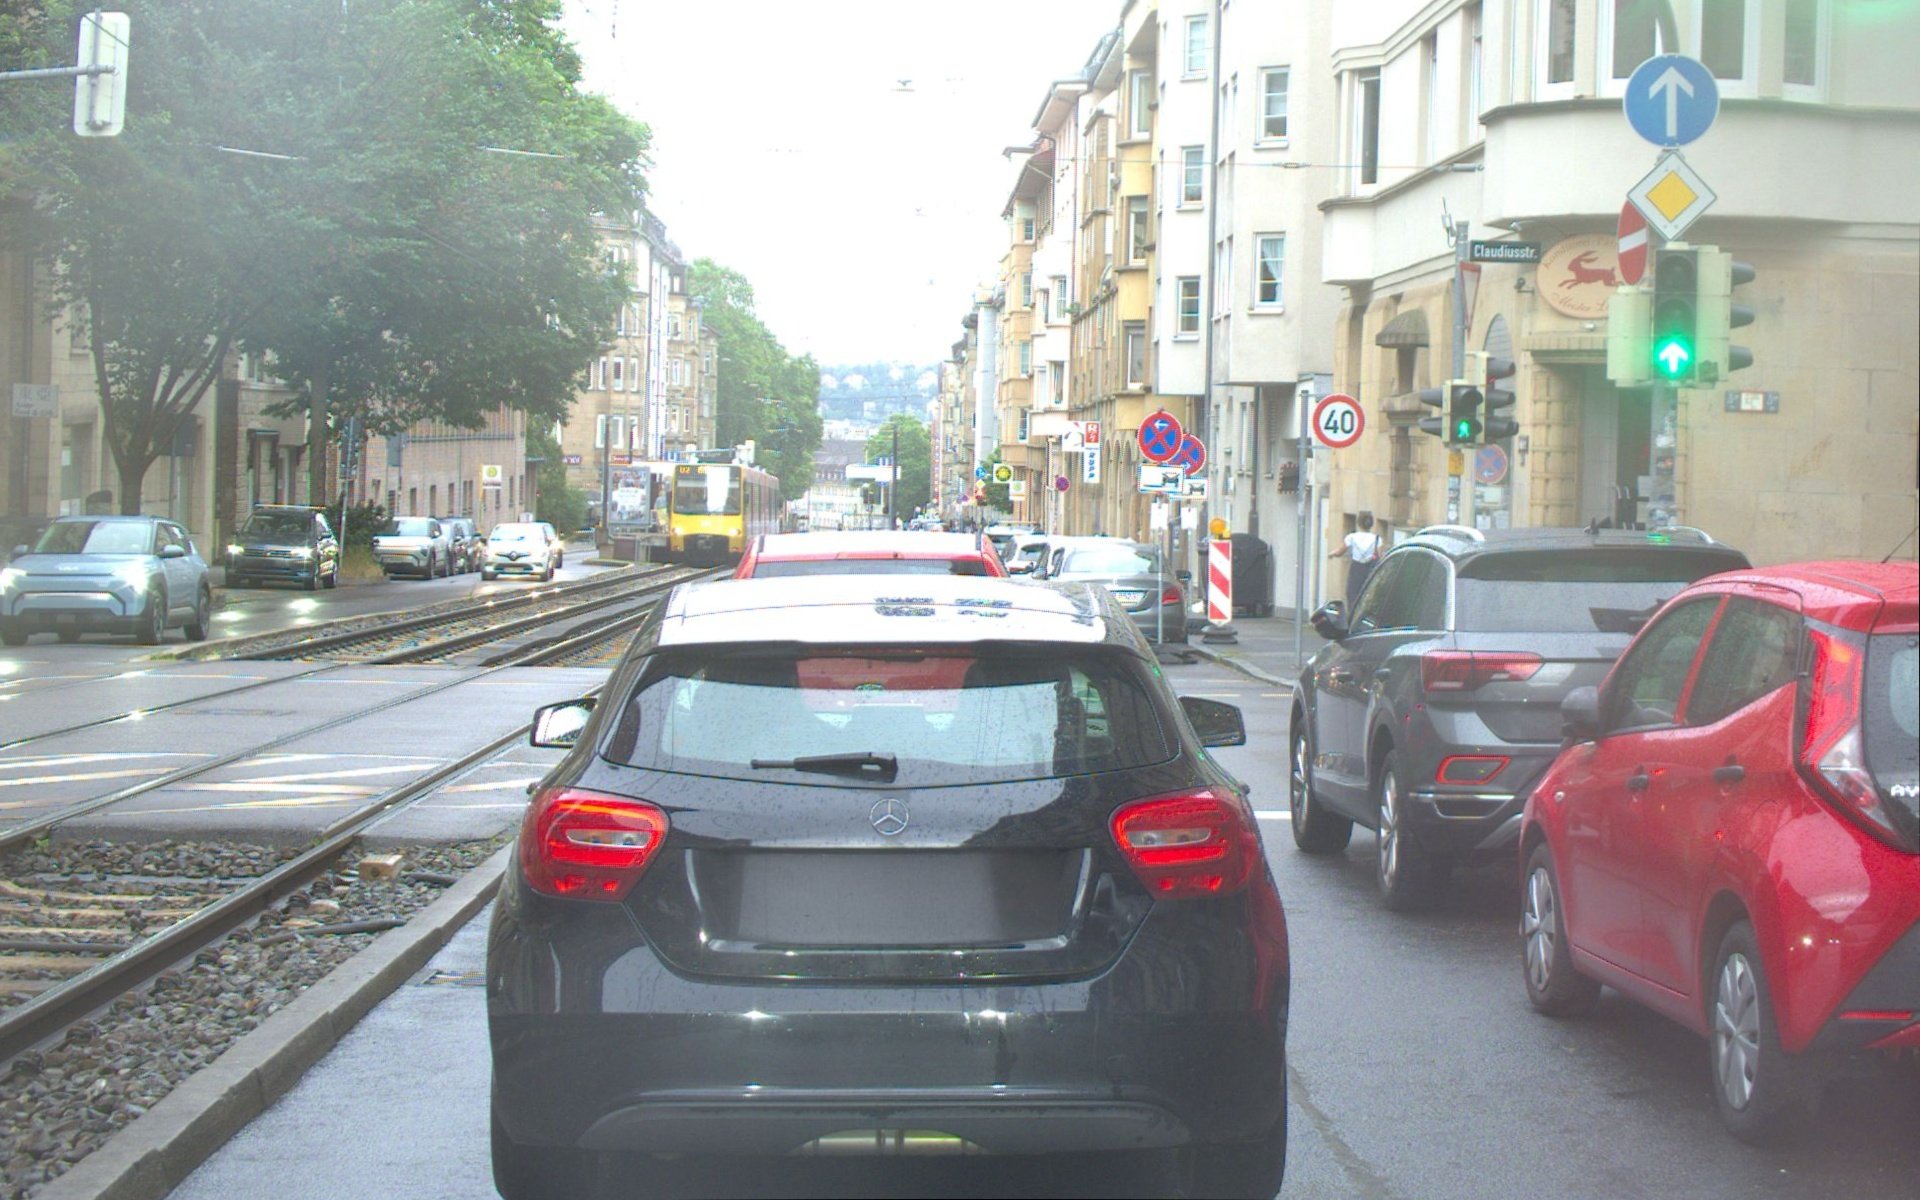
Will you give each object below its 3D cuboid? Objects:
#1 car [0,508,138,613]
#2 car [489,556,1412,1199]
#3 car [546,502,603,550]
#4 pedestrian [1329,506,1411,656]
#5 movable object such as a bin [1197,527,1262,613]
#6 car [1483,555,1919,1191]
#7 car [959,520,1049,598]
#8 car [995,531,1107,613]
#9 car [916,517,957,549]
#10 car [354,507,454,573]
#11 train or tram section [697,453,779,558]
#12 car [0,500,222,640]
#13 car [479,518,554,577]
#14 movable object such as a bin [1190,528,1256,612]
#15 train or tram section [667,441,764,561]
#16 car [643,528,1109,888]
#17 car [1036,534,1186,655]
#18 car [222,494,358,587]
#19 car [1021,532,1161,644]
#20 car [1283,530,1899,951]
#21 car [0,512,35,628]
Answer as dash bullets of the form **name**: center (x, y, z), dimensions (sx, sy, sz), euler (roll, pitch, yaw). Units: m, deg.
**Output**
- **car**: center (-13.479, -0.582, 50.504), dimensions (1.780, 1.455, 4.979), euler (1, 1, -2)
- **car**: center (-0.044, 0.637, 8.863), dimensions (1.834, 1.448, 3.902), euler (1, 1, -1)
- **car**: center (-12.117, -2.332, 108.202), dimensions (1.653, 1.457, 3.735), euler (0, 1, -5)
- **pedestrian**: center (4.661, -0.215, 39.090), dimensions (0.804, 1.681, 0.754), euler (1, 0, -1)
- **movable object such as a bin**: center (4.623, -0.517, 59.058), dimensions (0.980, 1.463, 1.273), euler (1, 0, -1)
- **car**: center (2.718, 0.632, 9.774), dimensions (1.705, 1.448, 3.533), euler (2, 1, -3)
- **car**: center (0.968, -0.873, 73.896), dimensions (1.841, 1.602, 4.760), euler (1, 1, 1)
- **car**: center (1.590, -0.503, 61.307), dimensions (1.789, 1.381, 4.395), euler (1, 1, -1)
- **car**: center (-1.180, -3.369, 172.381), dimensions (1.887, 1.520, 4.245), euler (2, 1, 1)
- **car**: center (-14.284, -1.560, 88.503), dimensions (1.961, 1.600, 4.329), euler (2, 2, -2)
- **train or tram section**: center (-9.036, -3.886, 141.541), dimensions (2.745, 4.048, 15.663), euler (1, 1, -2)
- **car**: center (-10.362, -0.373, 42.044), dimensions (1.921, 1.612, 4.129), euler (1, 1, -2)
- **car**: center (-11.535, -1.356, 89.551), dimensions (1.780, 1.497, 4.063), euler (1, 1, -5)
- **movable object such as a bin**: center (4.622, -0.533, 60.605), dimensions (1.018, 1.463, 1.323), euler (1, 0, -1)
- **train or tram section**: center (-8.773, -3.567, 125.265), dimensions (2.745, 4.048, 17.216), euler (1, 1, -2)
- **car**: center (-0.391, 0.435, 17.165), dimensions (1.993, 1.520, 4.246), euler (2, 1, -1)
- **car**: center (1.826, -0.086, 42.882), dimensions (1.711, 1.405, 4.817), euler (1, 1, 1)
- **car**: center (-13.840, -1.267, 71.289), dimensions (1.953, 1.736, 4.780), euler (4, 2, -2)
- **car**: center (1.789, -0.185, 48.249), dimensions (1.712, 1.463, 4.774), euler (1, 1, -1)
- **car**: center (2.583, 0.500, 15.046), dimensions (1.867, 1.543, 3.991), euler (2, 1, -1)
- **car**: center (-13.432, -0.407, 44.949), dimensions (1.689, 1.524, 4.176), euler (1, 1, -2)
